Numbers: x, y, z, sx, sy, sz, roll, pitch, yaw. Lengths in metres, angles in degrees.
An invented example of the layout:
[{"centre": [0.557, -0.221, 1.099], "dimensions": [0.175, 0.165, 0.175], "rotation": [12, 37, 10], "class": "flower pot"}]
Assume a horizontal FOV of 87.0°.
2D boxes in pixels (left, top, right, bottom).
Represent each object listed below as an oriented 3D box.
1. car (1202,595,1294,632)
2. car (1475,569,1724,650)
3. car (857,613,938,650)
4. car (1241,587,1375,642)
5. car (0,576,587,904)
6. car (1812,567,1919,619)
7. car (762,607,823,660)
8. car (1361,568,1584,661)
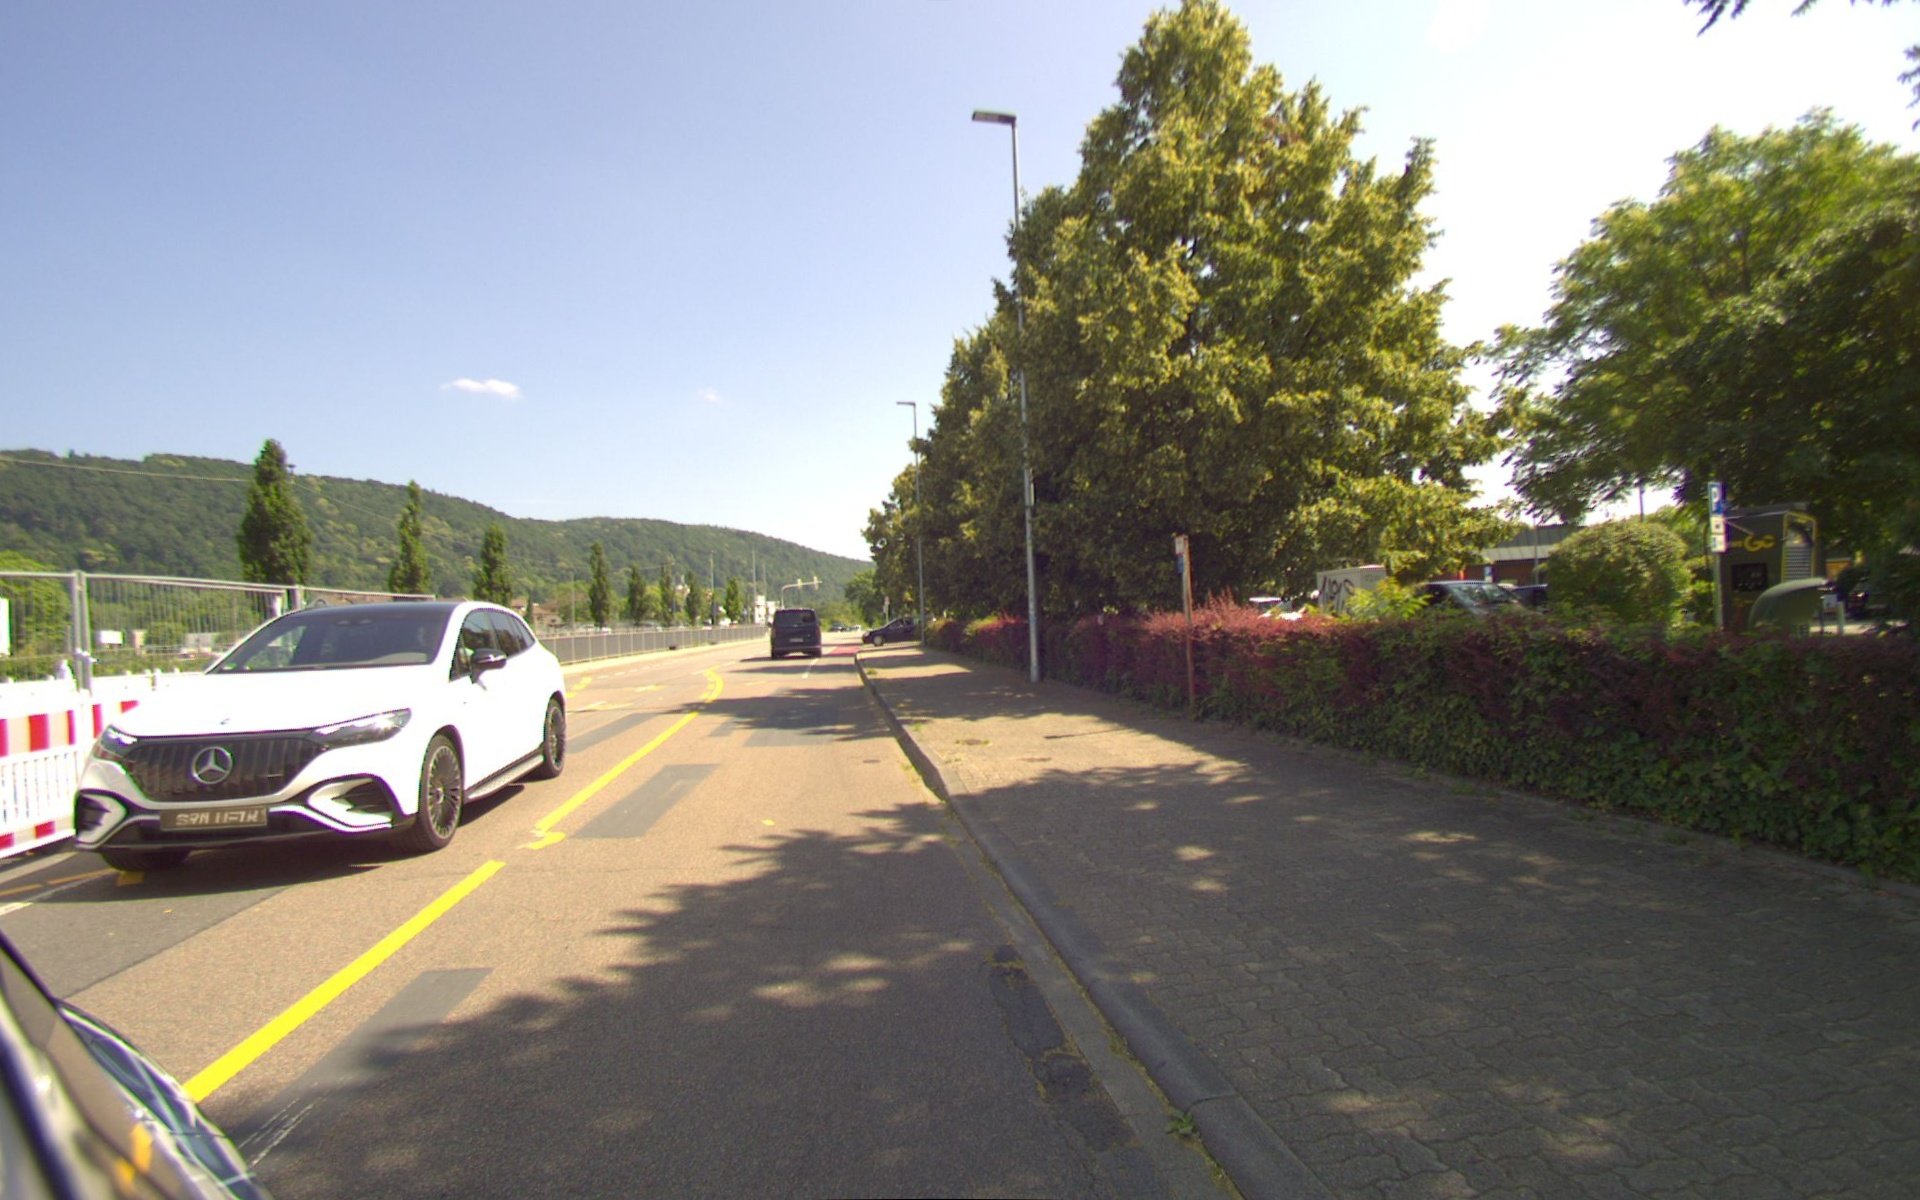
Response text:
[{"centre": [13.491, 0.656, 47.625], "dimensions": [1.888, 1.564, 4.155], "rotation": [-2, -1, -23], "class": "car"}, {"centre": [12.919, 0.223, 20.852], "dimensions": [1.832, 1.464, 4.376], "rotation": [-1, -1, -10], "class": "car"}, {"centre": [-3.167, 1.593, 51.519], "dimensions": [3.942, 1.475, 1.882], "rotation": [-5, 0, -2], "class": "car"}, {"centre": [12.291, 0.509, 35.759], "dimensions": [4.238, 1.698, 1.868], "rotation": [-2, -1, -23], "class": "car"}, {"centre": [-4.546, 0.795, 7.998], "dimensions": [1.968, 1.657, 5.040], "rotation": [-3, -1, -8], "class": "car"}, {"centre": [28.775, -0.237, 31.510], "dimensions": [3.931, 1.399, 1.780], "rotation": [-2, -2, -24], "class": "car"}, {"centre": [-6.660, 1.313, 40.770], "dimensions": [2.149, 1.983, 5.452], "rotation": [0, -1, -7], "class": "car"}, {"centre": [10.394, 0.321, 20.960], "dimensions": [1.832, 1.698, 4.376], "rotation": [-1, -1, -10], "class": "car"}]
